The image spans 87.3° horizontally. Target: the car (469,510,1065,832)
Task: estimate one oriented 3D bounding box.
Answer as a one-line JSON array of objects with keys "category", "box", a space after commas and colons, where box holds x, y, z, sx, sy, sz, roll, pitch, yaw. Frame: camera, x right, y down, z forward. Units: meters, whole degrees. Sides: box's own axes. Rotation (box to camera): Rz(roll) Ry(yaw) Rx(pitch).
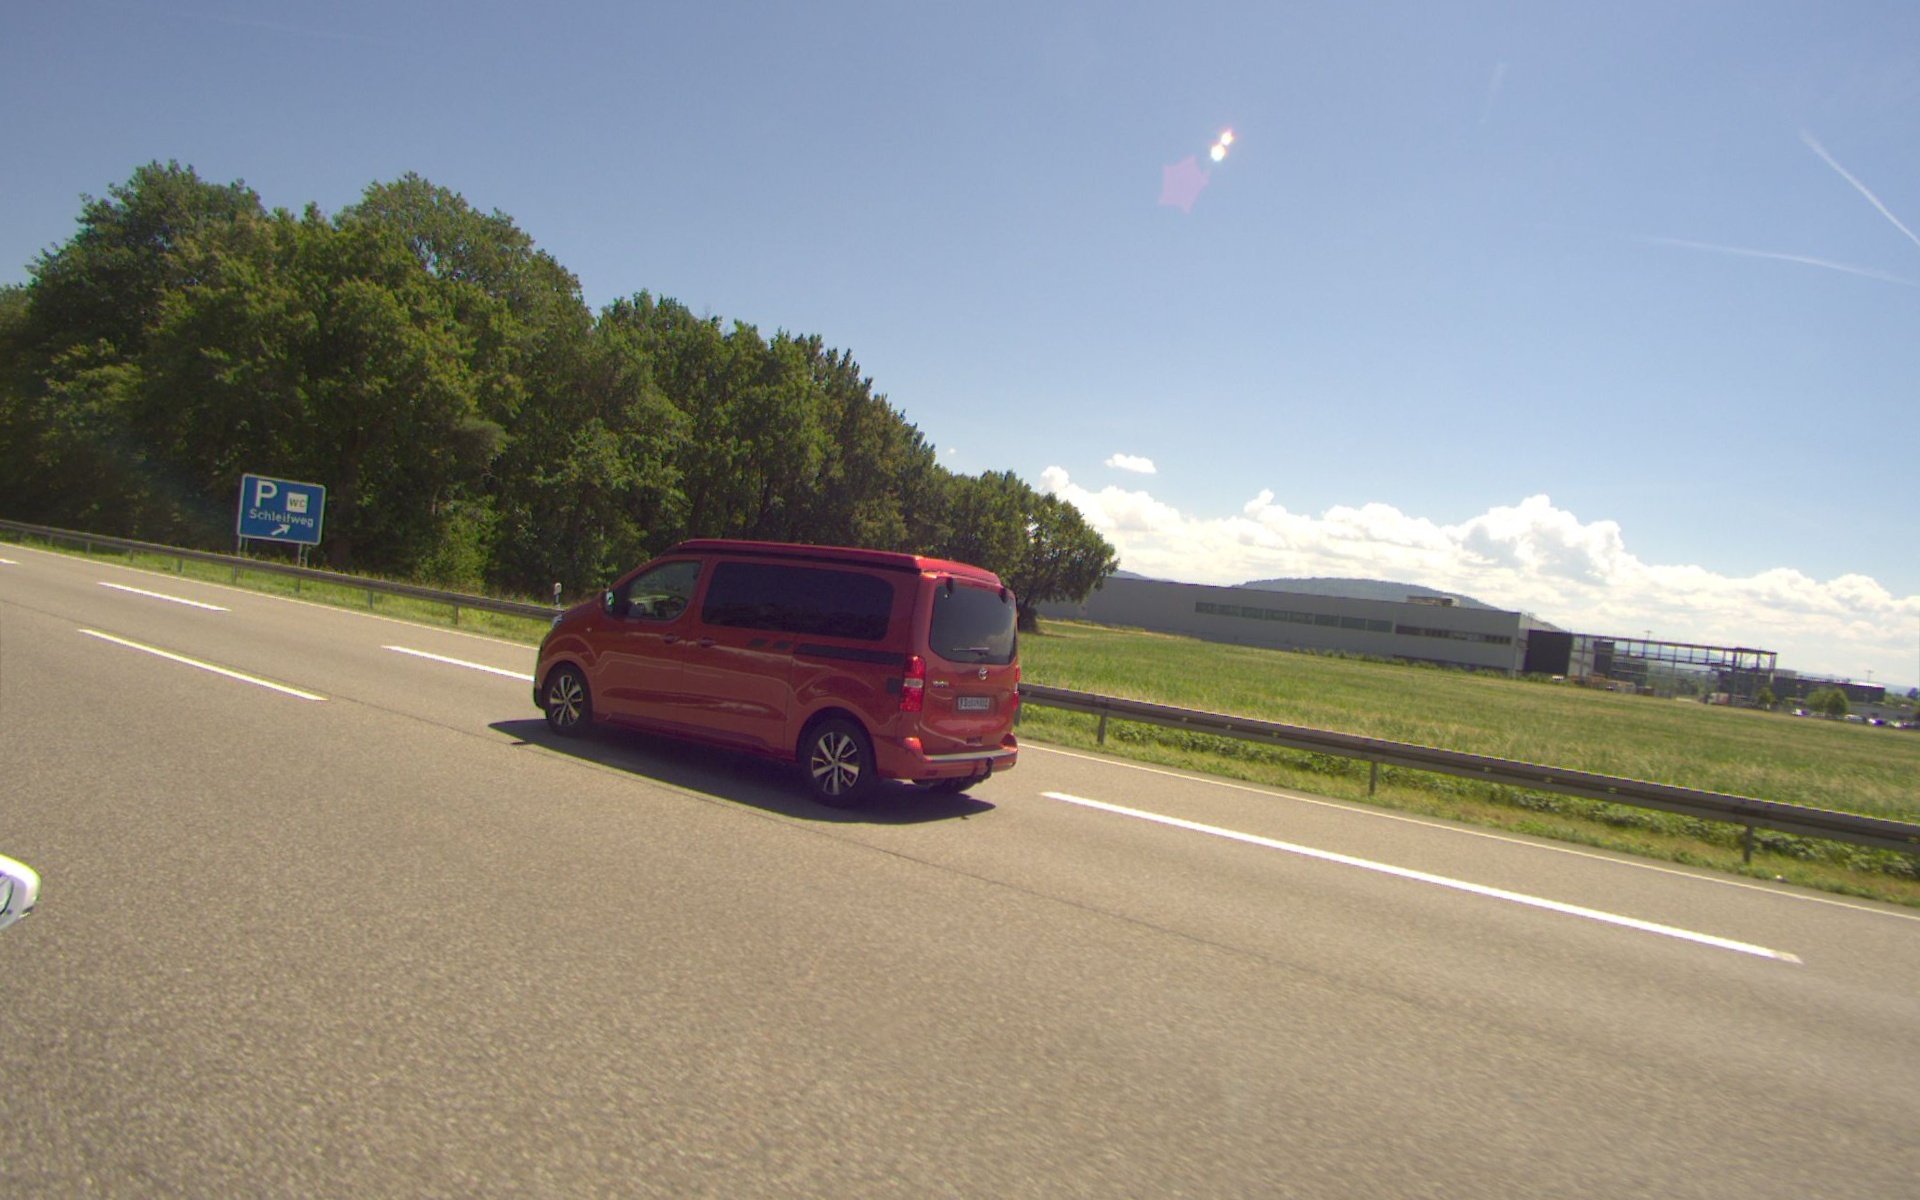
[{"category": "car", "box": [-1.981, 0.461, 9.345, 5.430, 2.026, 1.859, 7, -1, 32]}]
